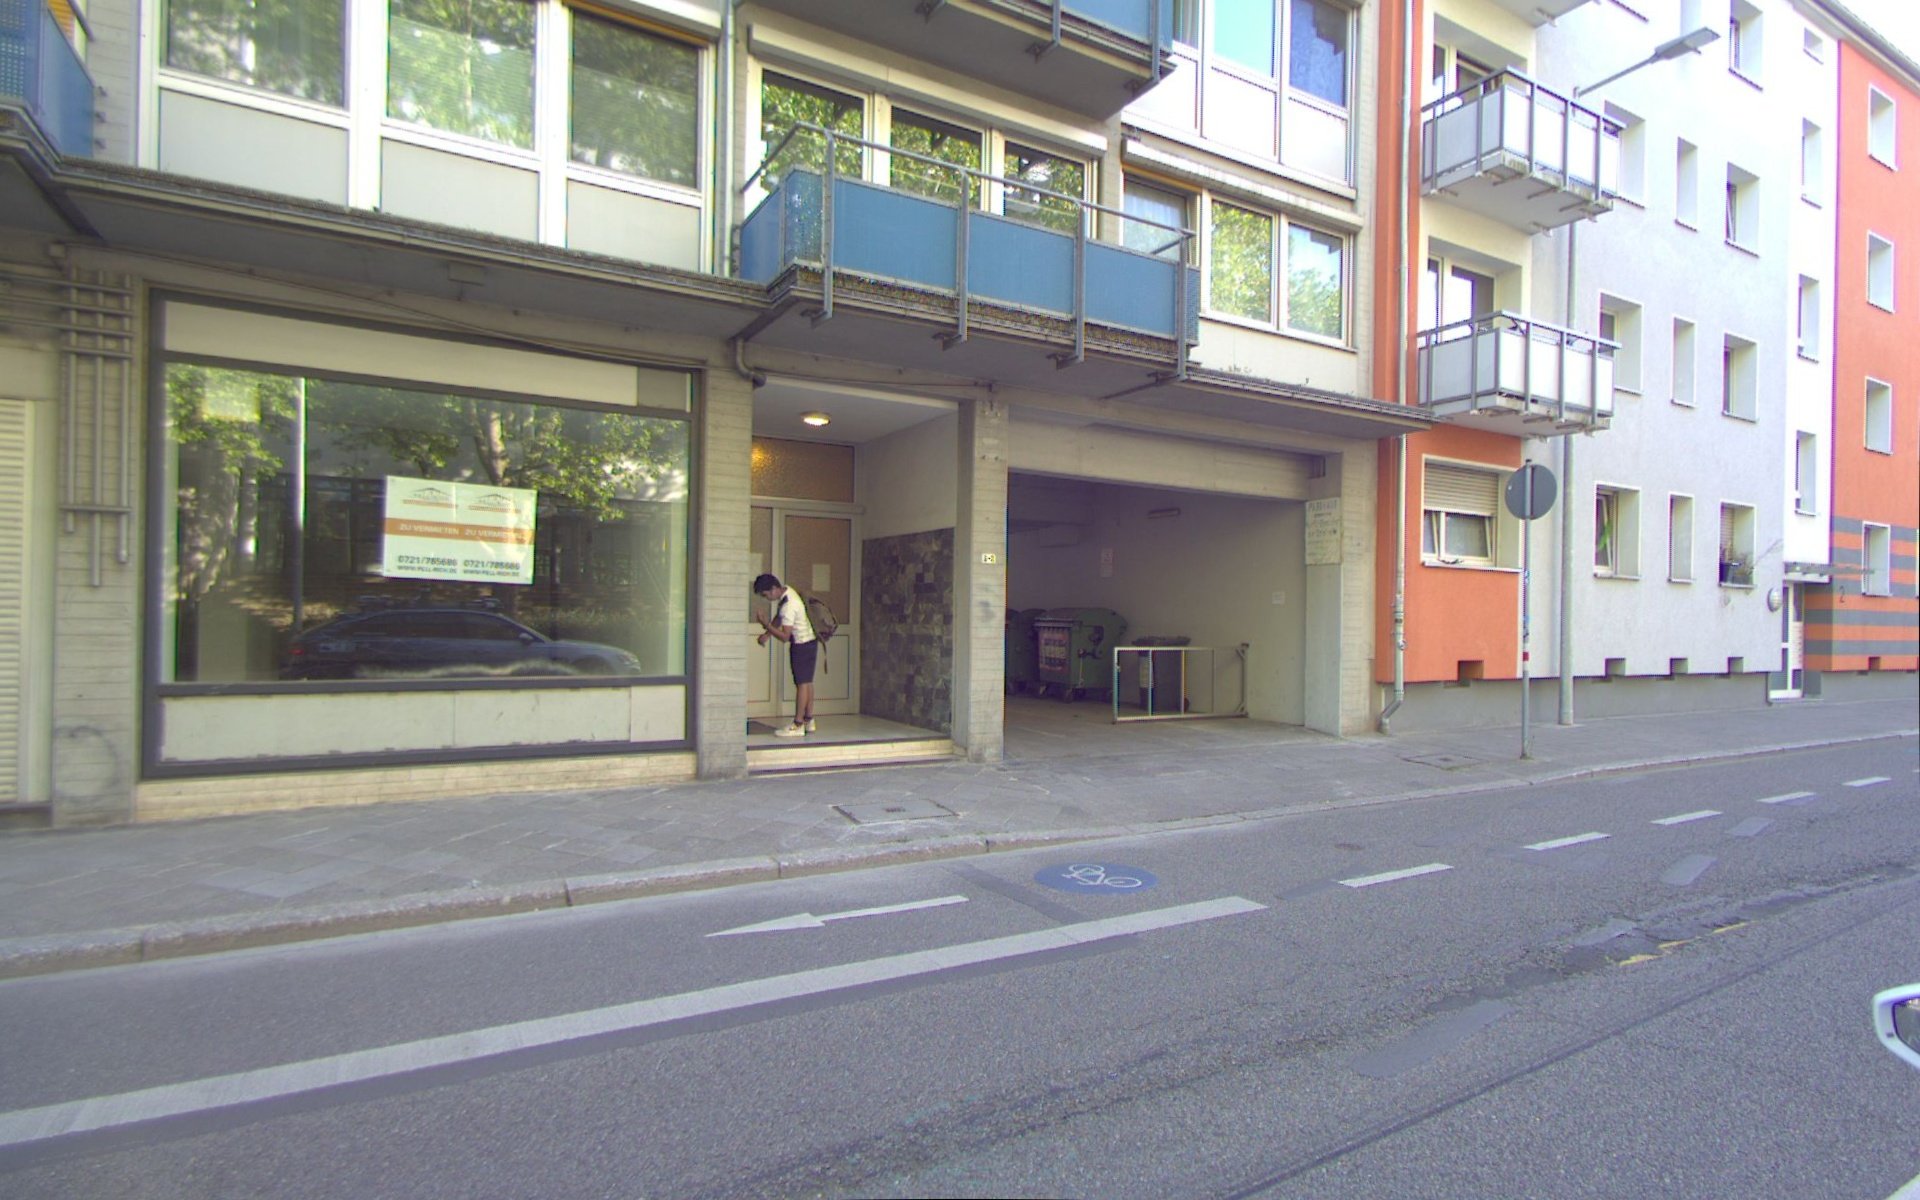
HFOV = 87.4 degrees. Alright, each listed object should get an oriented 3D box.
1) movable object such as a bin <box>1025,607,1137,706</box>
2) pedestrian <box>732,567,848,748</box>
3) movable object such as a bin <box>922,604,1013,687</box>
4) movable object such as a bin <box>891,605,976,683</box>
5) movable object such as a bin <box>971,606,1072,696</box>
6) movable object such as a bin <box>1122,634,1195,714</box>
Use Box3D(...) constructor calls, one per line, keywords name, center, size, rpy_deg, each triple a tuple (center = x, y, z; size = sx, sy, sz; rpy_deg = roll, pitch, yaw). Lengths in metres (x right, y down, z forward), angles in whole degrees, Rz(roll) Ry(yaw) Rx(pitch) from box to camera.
Box3D(name="movable object such as a bin", center=(1.885, 0.866, 15.804), size=(1.182, 1.452, 1.300), rpy_deg=(2, 0, -30))
Box3D(name="pedestrian", center=(-1.586, 0.516, 9.373), size=(0.914, 1.606, 0.561), rpy_deg=(1, 0, -29))
Box3D(name="movable object such as a bin", center=(0.131, 0.828, 18.765), size=(1.182, 1.452, 1.300), rpy_deg=(2, 0, -30))
Box3D(name="movable object such as a bin", center=(-0.536, 0.859, 19.929), size=(1.182, 1.452, 1.300), rpy_deg=(2, 0, -30))
Box3D(name="movable object such as a bin", center=(1.044, 0.848, 17.191), size=(1.182, 1.452, 1.300), rpy_deg=(2, 0, -30))
Box3D(name="movable object such as a bin", center=(2.862, 1.060, 14.521), size=(0.707, 1.089, 0.735), rpy_deg=(2, 0, -30))
